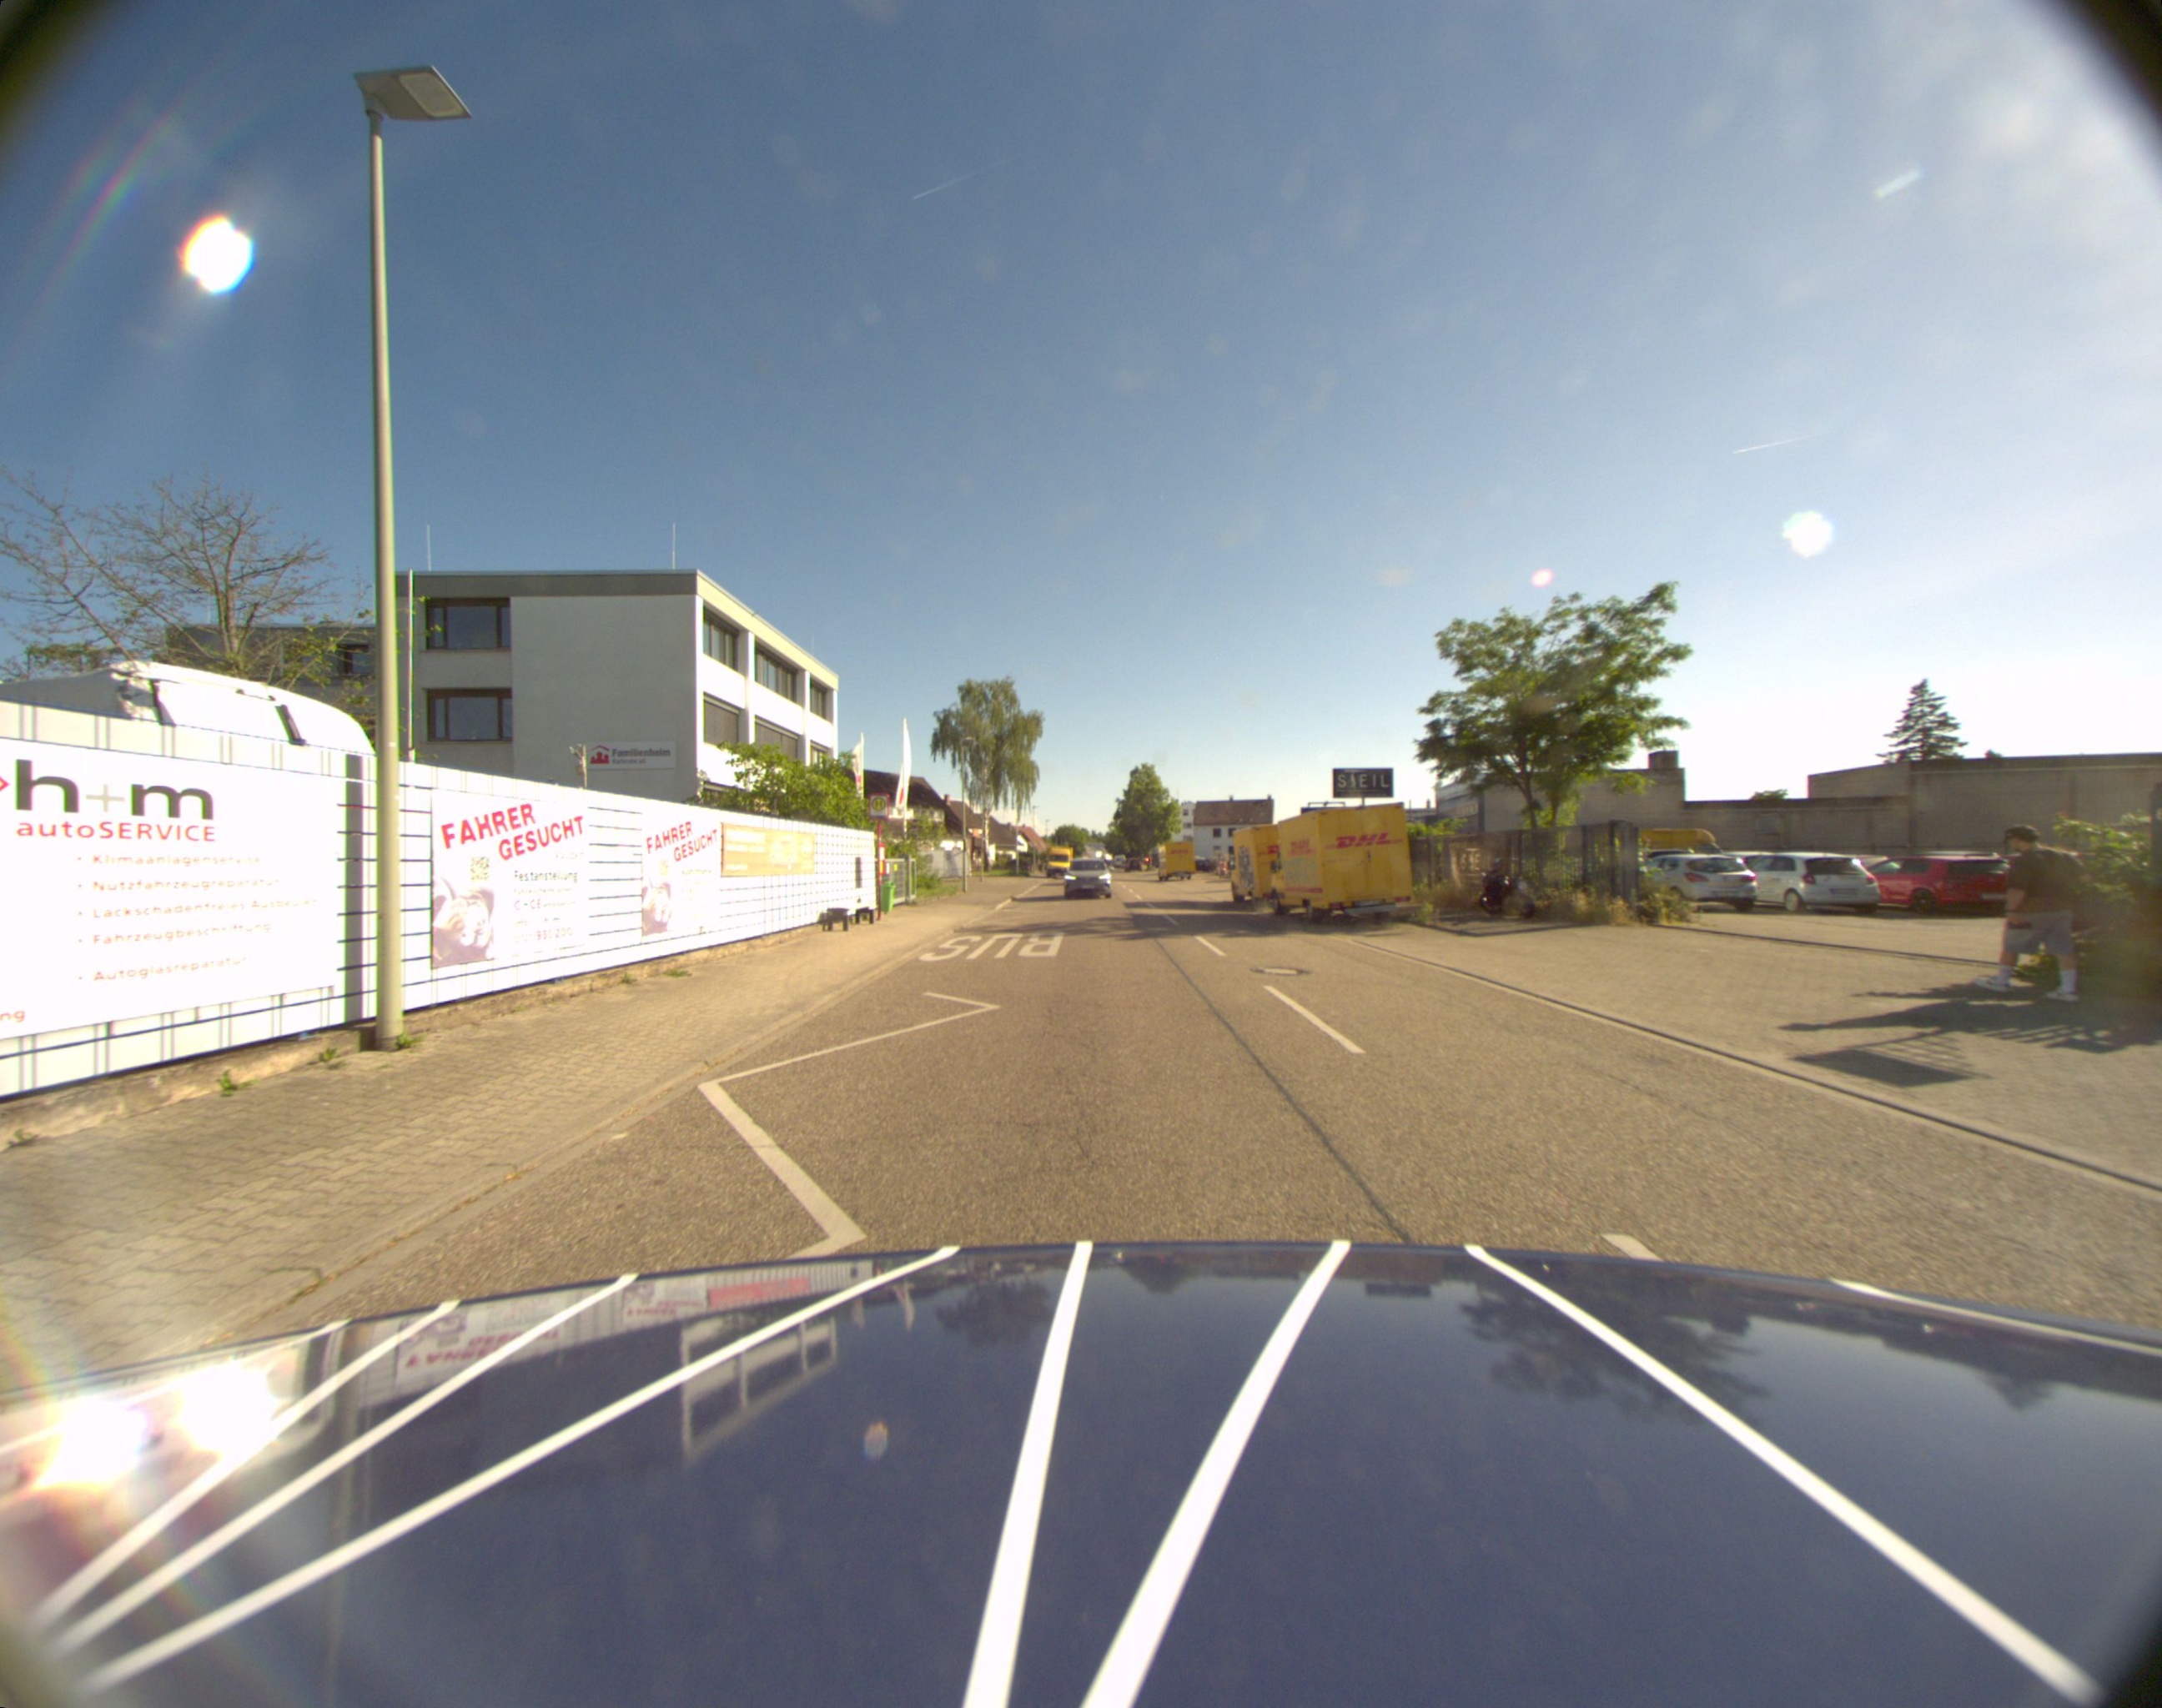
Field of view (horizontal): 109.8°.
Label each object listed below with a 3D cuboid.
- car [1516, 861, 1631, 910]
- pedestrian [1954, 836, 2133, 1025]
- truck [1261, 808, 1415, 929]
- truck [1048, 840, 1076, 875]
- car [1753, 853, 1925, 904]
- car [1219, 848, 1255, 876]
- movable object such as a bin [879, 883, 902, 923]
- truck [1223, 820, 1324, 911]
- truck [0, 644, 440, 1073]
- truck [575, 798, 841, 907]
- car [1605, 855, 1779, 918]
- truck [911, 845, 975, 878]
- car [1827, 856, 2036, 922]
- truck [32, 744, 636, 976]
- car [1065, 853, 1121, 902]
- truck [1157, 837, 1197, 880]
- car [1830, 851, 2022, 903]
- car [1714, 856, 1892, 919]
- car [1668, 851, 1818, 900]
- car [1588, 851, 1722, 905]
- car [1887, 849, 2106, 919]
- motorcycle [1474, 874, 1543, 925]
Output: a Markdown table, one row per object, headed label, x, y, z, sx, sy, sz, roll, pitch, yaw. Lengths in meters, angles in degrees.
| label | x | y | z | sx | sy | sz | roll | pitch | yaw |
| --- | --- | --- | --- | --- | --- | --- | --- | --- | --- |
| car | 17.000 | 1.020 | 26.489 | 1.851 | 1.435 | 4.002 | 1 | 1 | 9 |
| pedestrian | 9.429 | 0.711 | 7.473 | 0.821 | 1.733 | 0.751 | -2 | 1 | -6 |
| truck | 6.606 | 0.308 | 20.397 | 2.173 | 2.698 | 5.749 | -2 | 1 | 1 |
| truck | -1.683 | 0.302 | 68.427 | 2.286 | 3.012 | 5.749 | 0 | 1 | 1 |
| car | 24.664 | 0.738 | 24.963 | 1.975 | 1.435 | 4.002 | 1 | 1 | 9 |
| car | 11.966 | 0.610 | 58.481 | 1.998 | 2.002 | 4.000 | -2 | 1 | 2 |
| movable object such as a bin | -4.675 | 1.207 | 18.681 | 0.383 | 0.950 | 0.567 | 0 | 0 | 4 |
| truck | 6.698 | 0.353 | 27.239 | 2.145 | 2.857 | 5.749 | -2 | 0 | 1 |
| truck | -9.396 | 0.039 | 6.341 | 6.238 | 2.800 | 2.381 | 0 | 0 | 4 |
| truck | -10.160 | -0.032 | 21.046 | 6.238 | 2.800 | 2.381 | 0 | 0 | 4 |
| car | 16.680 | 0.818 | 21.039 | 1.975 | 1.435 | 4.002 | 1 | 1 | 9 |
| truck | -10.439 | 0.563 | 57.466 | 4.394 | 2.451 | 1.996 | 0 | 0 | -24 |
| car | 21.778 | 0.818 | 19.723 | 1.647 | 1.521 | 4.004 | 0 | 0 | 14 |
| truck | -9.961 | 0.078 | 10.545 | 6.238 | 2.800 | 2.381 | 0 | 0 | 4 |
| car | 0.441 | 0.875 | 30.093 | 1.999 | 1.750 | 5.015 | -1 | 0 | 0 |
| truck | 7.312 | 0.303 | 58.274 | 2.286 | 3.012 | 5.910 | -2 | 1 | 1 |
| car | 26.771 | 0.665 | 24.311 | 1.975 | 1.435 | 4.002 | 1 | 1 | 9 |
| car | 19.351 | 0.816 | 20.635 | 1.648 | 1.521 | 4.004 | 0 | 0 | 12 |
| car | 22.261 | 0.658 | 25.792 | 1.975 | 1.435 | 4.002 | 1 | 1 | 9 |
| car | 19.589 | 0.746 | 26.196 | 1.975 | 1.630 | 4.002 | 1 | 1 | 9 |
| car | 23.875 | 0.710 | 20.080 | 1.647 | 1.675 | 4.004 | 0 | 0 | 14 |
| motorcycle | 10.090 | 1.048 | 18.001 | 0.537 | 1.051 | 2.070 | -3 | 0 | 4 |
